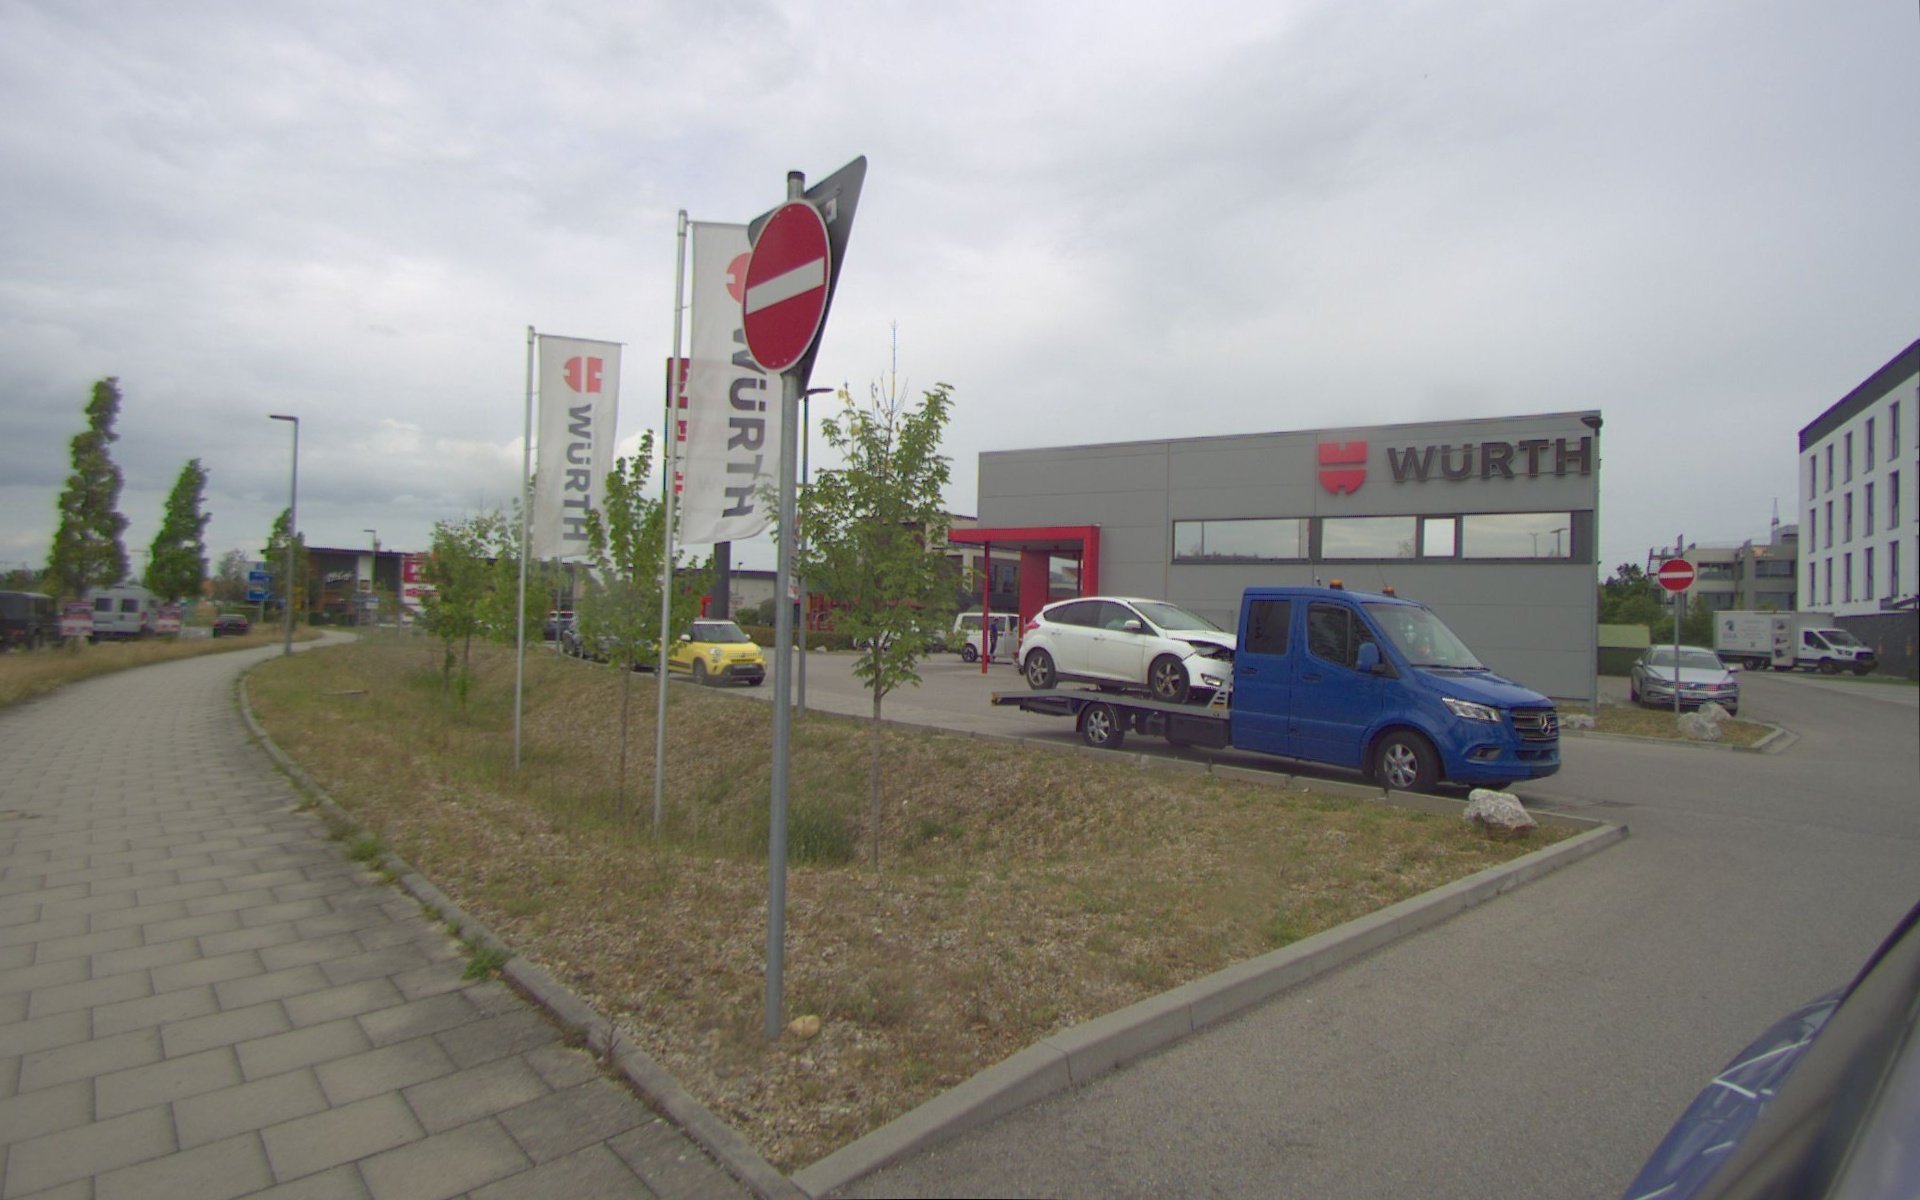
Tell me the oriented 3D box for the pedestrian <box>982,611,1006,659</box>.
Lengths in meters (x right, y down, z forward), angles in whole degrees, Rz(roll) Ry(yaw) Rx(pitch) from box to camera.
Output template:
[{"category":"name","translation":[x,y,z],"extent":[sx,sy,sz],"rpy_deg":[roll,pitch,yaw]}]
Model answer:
[{"category":"pedestrian","translation":[1.312,1.343,39.074],"extent":[0.654,1.831,0.641],"rpy_deg":[1,-1,34]}]

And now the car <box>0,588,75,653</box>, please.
[{"category":"car","translation":[-30.035,0.631,32.105],"extent":[1.960,1.948,4.852],"rpy_deg":[2,-2,-30]}]

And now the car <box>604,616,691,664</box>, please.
[{"category":"car","translation":[-10.079,1.239,32.451],"extent":[1.709,1.379,4.002],"rpy_deg":[1,-1,-32]}]

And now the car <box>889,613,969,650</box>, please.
[{"category":"car","translation":[-1.723,1.686,55.642],"extent":[3.972,1.883,1.976],"rpy_deg":[1,-1,34]}]

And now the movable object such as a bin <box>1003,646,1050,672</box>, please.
[{"category":"movable object such as a bin","translation":[2.041,1.787,30.946],"extent":[0.797,0.725,1.566],"rpy_deg":[0,-2,32]}]

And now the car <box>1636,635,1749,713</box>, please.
[{"category":"car","translation":[17.544,1.673,24.199],"extent":[1.971,1.510,4.705],"rpy_deg":[3,0,37]}]

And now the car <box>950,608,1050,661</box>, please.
[{"category":"car","translation":[1.586,1.352,40.380],"extent":[3.648,2.004,1.657],"rpy_deg":[0,-1,33]}]

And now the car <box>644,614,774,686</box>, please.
[{"category":"car","translation":[-6.742,1.249,26.894],"extent":[1.721,1.705,4.294],"rpy_deg":[1,-1,-39]}]

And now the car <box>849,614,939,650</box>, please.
[{"category":"car","translation":[-3.505,1.677,53.328],"extent":[4.709,1.771,1.737],"rpy_deg":[0,-1,34]}]

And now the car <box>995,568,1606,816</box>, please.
[{"category":"car","translation":[3.761,0.868,13.417],"extent":[2.160,2.352,7.854],"rpy_deg":[2,-1,-36]}]

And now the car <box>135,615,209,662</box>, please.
[{"category":"car","translation":[-30.033,1.424,38.645],"extent":[1.651,1.698,3.509],"rpy_deg":[1,-1,-29]}]

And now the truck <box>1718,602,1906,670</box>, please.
[{"category":"truck","translation":[40.638,1.637,48.654],"extent":[2.387,3.055,7.078],"rpy_deg":[1,-1,-8]}]

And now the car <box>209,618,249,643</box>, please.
[{"category":"car","translation":[-43.354,1.787,60.073],"extent":[1.465,1.403,3.345],"rpy_deg":[1,-1,-29]}]

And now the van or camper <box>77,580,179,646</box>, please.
[{"category":"van or camper","translation":[-35.173,0.580,42.962],"extent":[2.152,2.574,6.172],"rpy_deg":[2,-2,-29]}]
